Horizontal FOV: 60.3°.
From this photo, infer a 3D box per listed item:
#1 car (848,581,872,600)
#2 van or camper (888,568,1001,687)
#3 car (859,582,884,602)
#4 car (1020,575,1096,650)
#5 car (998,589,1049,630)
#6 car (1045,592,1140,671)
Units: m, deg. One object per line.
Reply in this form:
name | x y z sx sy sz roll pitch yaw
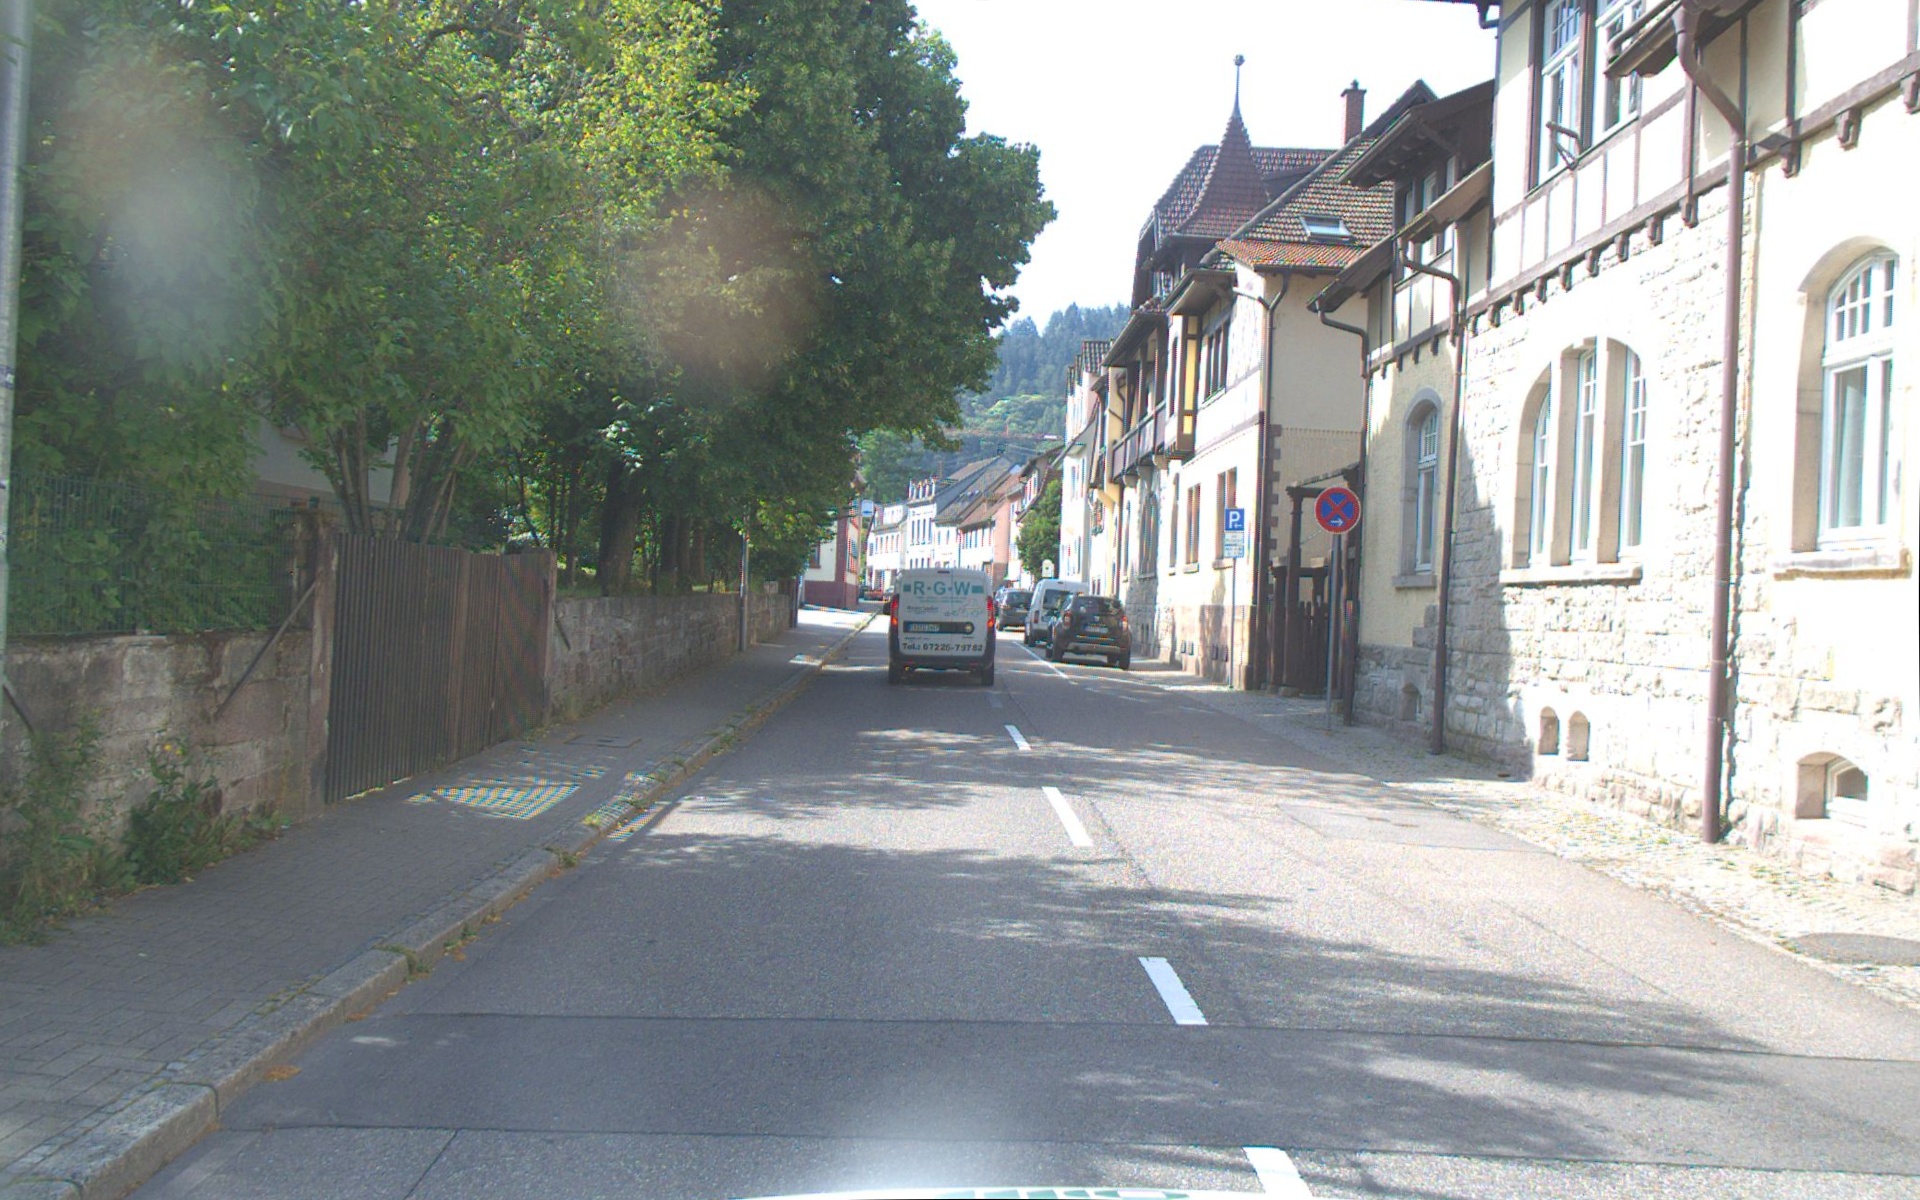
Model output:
car | -9.986 -0.957 164.973 1.741 1.830 3.988 2 0 -12
van or camper | -0.316 0.395 28.156 1.791 1.876 4.187 0 1 -2
car | -8.513 -0.750 158.479 1.741 1.830 3.988 2 0 -12
car | 2.894 0.355 49.426 1.833 2.048 3.999 3 0 -2
car | 2.508 0.372 65.664 1.636 1.534 3.998 2 0 -3
car | 3.073 0.688 39.131 1.774 1.624 3.926 5 0 -1
